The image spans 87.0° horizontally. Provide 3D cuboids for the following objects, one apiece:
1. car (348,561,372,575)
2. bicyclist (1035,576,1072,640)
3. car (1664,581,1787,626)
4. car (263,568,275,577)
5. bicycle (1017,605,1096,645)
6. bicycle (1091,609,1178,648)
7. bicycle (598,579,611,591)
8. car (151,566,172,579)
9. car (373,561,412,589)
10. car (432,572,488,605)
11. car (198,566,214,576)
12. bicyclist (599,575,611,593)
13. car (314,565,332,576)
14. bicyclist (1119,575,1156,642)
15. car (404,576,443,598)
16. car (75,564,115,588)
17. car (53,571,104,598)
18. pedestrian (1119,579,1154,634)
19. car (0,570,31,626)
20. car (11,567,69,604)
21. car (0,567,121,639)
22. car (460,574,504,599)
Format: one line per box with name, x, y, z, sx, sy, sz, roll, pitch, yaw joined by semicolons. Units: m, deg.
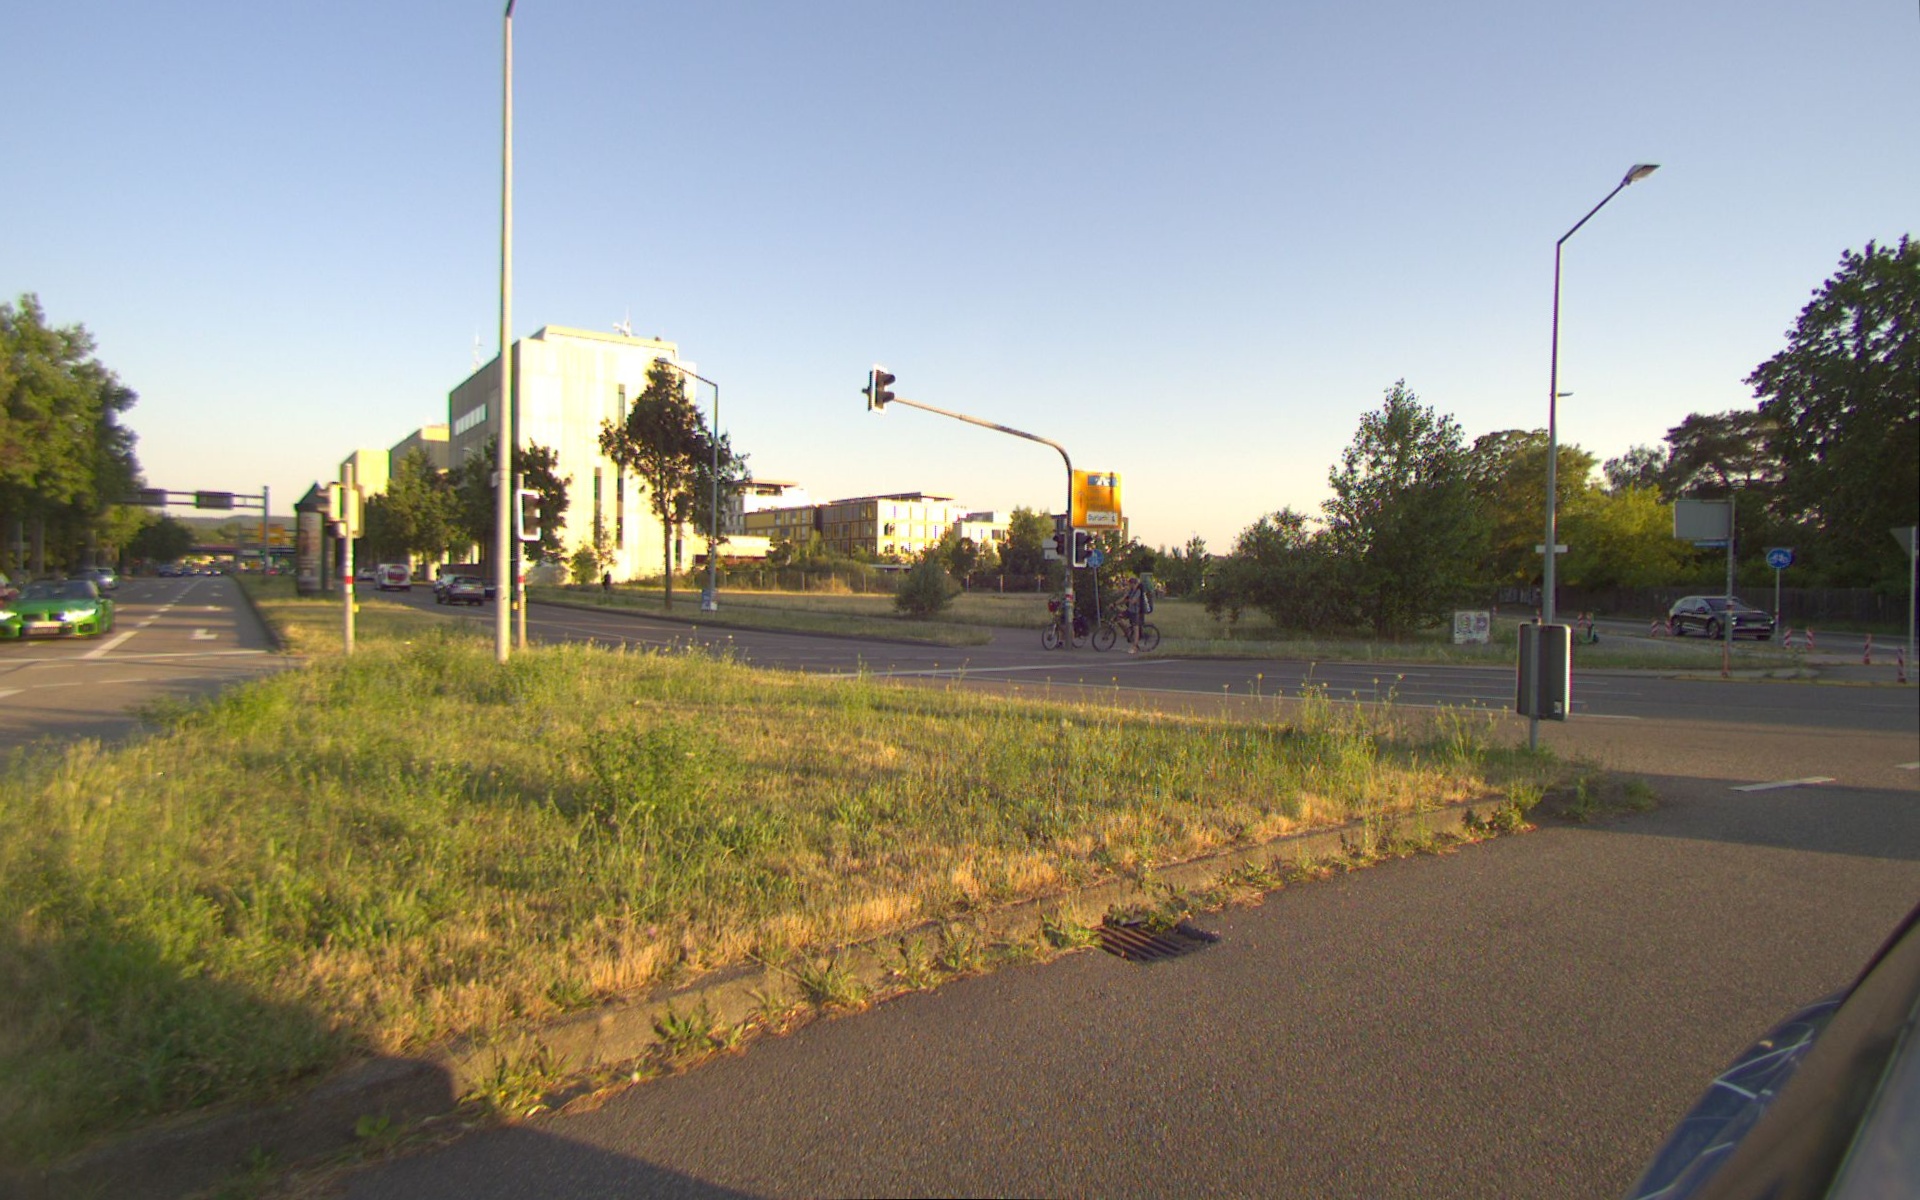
car;-67.750;-3.642;114.279;1.962;1.528;5.186;0;1;-35
bicyclist;2.518;0.211;27.324;0.675;1.711;0.726;0;1;-29
car;29.494;0.081;39.170;1.967;1.617;4.304;1;1;9
car;-137.044;-5.430;200.669;1.962;1.805;4.001;0;1;-35
bicycle;2.604;0.662;27.343;2.065;0.975;0.711;-2;2;-27
bicycle;4.531;0.735;26.238;2.100;0.975;0.711;1;1;-15
bicycle;-25.250;-1.037;71.907;0.487;0.837;1.515;0;1;-35
car;-101.364;-3.538;128.523;1.880;1.603;4.180;0;1;-36
car;-41.855;-1.849;74.599;2.029;1.971;4.962;0;1;-35
car;-25.929;-0.625;52.427;1.962;1.649;3.999;0;1;-36
car;-115.508;-4.410;155.091;1.963;1.524;4.771;0;1;-36
bicyclist;-25.232;-1.121;71.902;0.606;1.272;0.735;0;1;-34
car;-99.348;-4.607;157.827;1.964;1.593;3.997;0;1;-39
bicyclist;4.604;0.212;26.259;0.674;1.711;0.727;1;1;-13
car;-36.845;-0.915;69.431;1.961;1.425;4.528;0;1;-33
car;-55.518;-1.555;64.940;1.836;1.472;3.964;0;1;-42
car;-49.975;-0.878;57.437;1.833;1.472;4.161;0;1;-37
pedestrian;5.322;0.170;30.493;0.977;1.610;0.923;1;1;14
car;-29.770;-0.096;30.497;1.962;1.593;4.417;0;1;-34
car;-42.211;-0.692;46.502;1.835;1.407;4.156;5;-1;-42
car;-21.962;0.004;24.758;1.963;1.598;4.484;-1;2;-37
car;-29.561;-0.842;62.521;1.961;1.445;4.201;0;1;-32
